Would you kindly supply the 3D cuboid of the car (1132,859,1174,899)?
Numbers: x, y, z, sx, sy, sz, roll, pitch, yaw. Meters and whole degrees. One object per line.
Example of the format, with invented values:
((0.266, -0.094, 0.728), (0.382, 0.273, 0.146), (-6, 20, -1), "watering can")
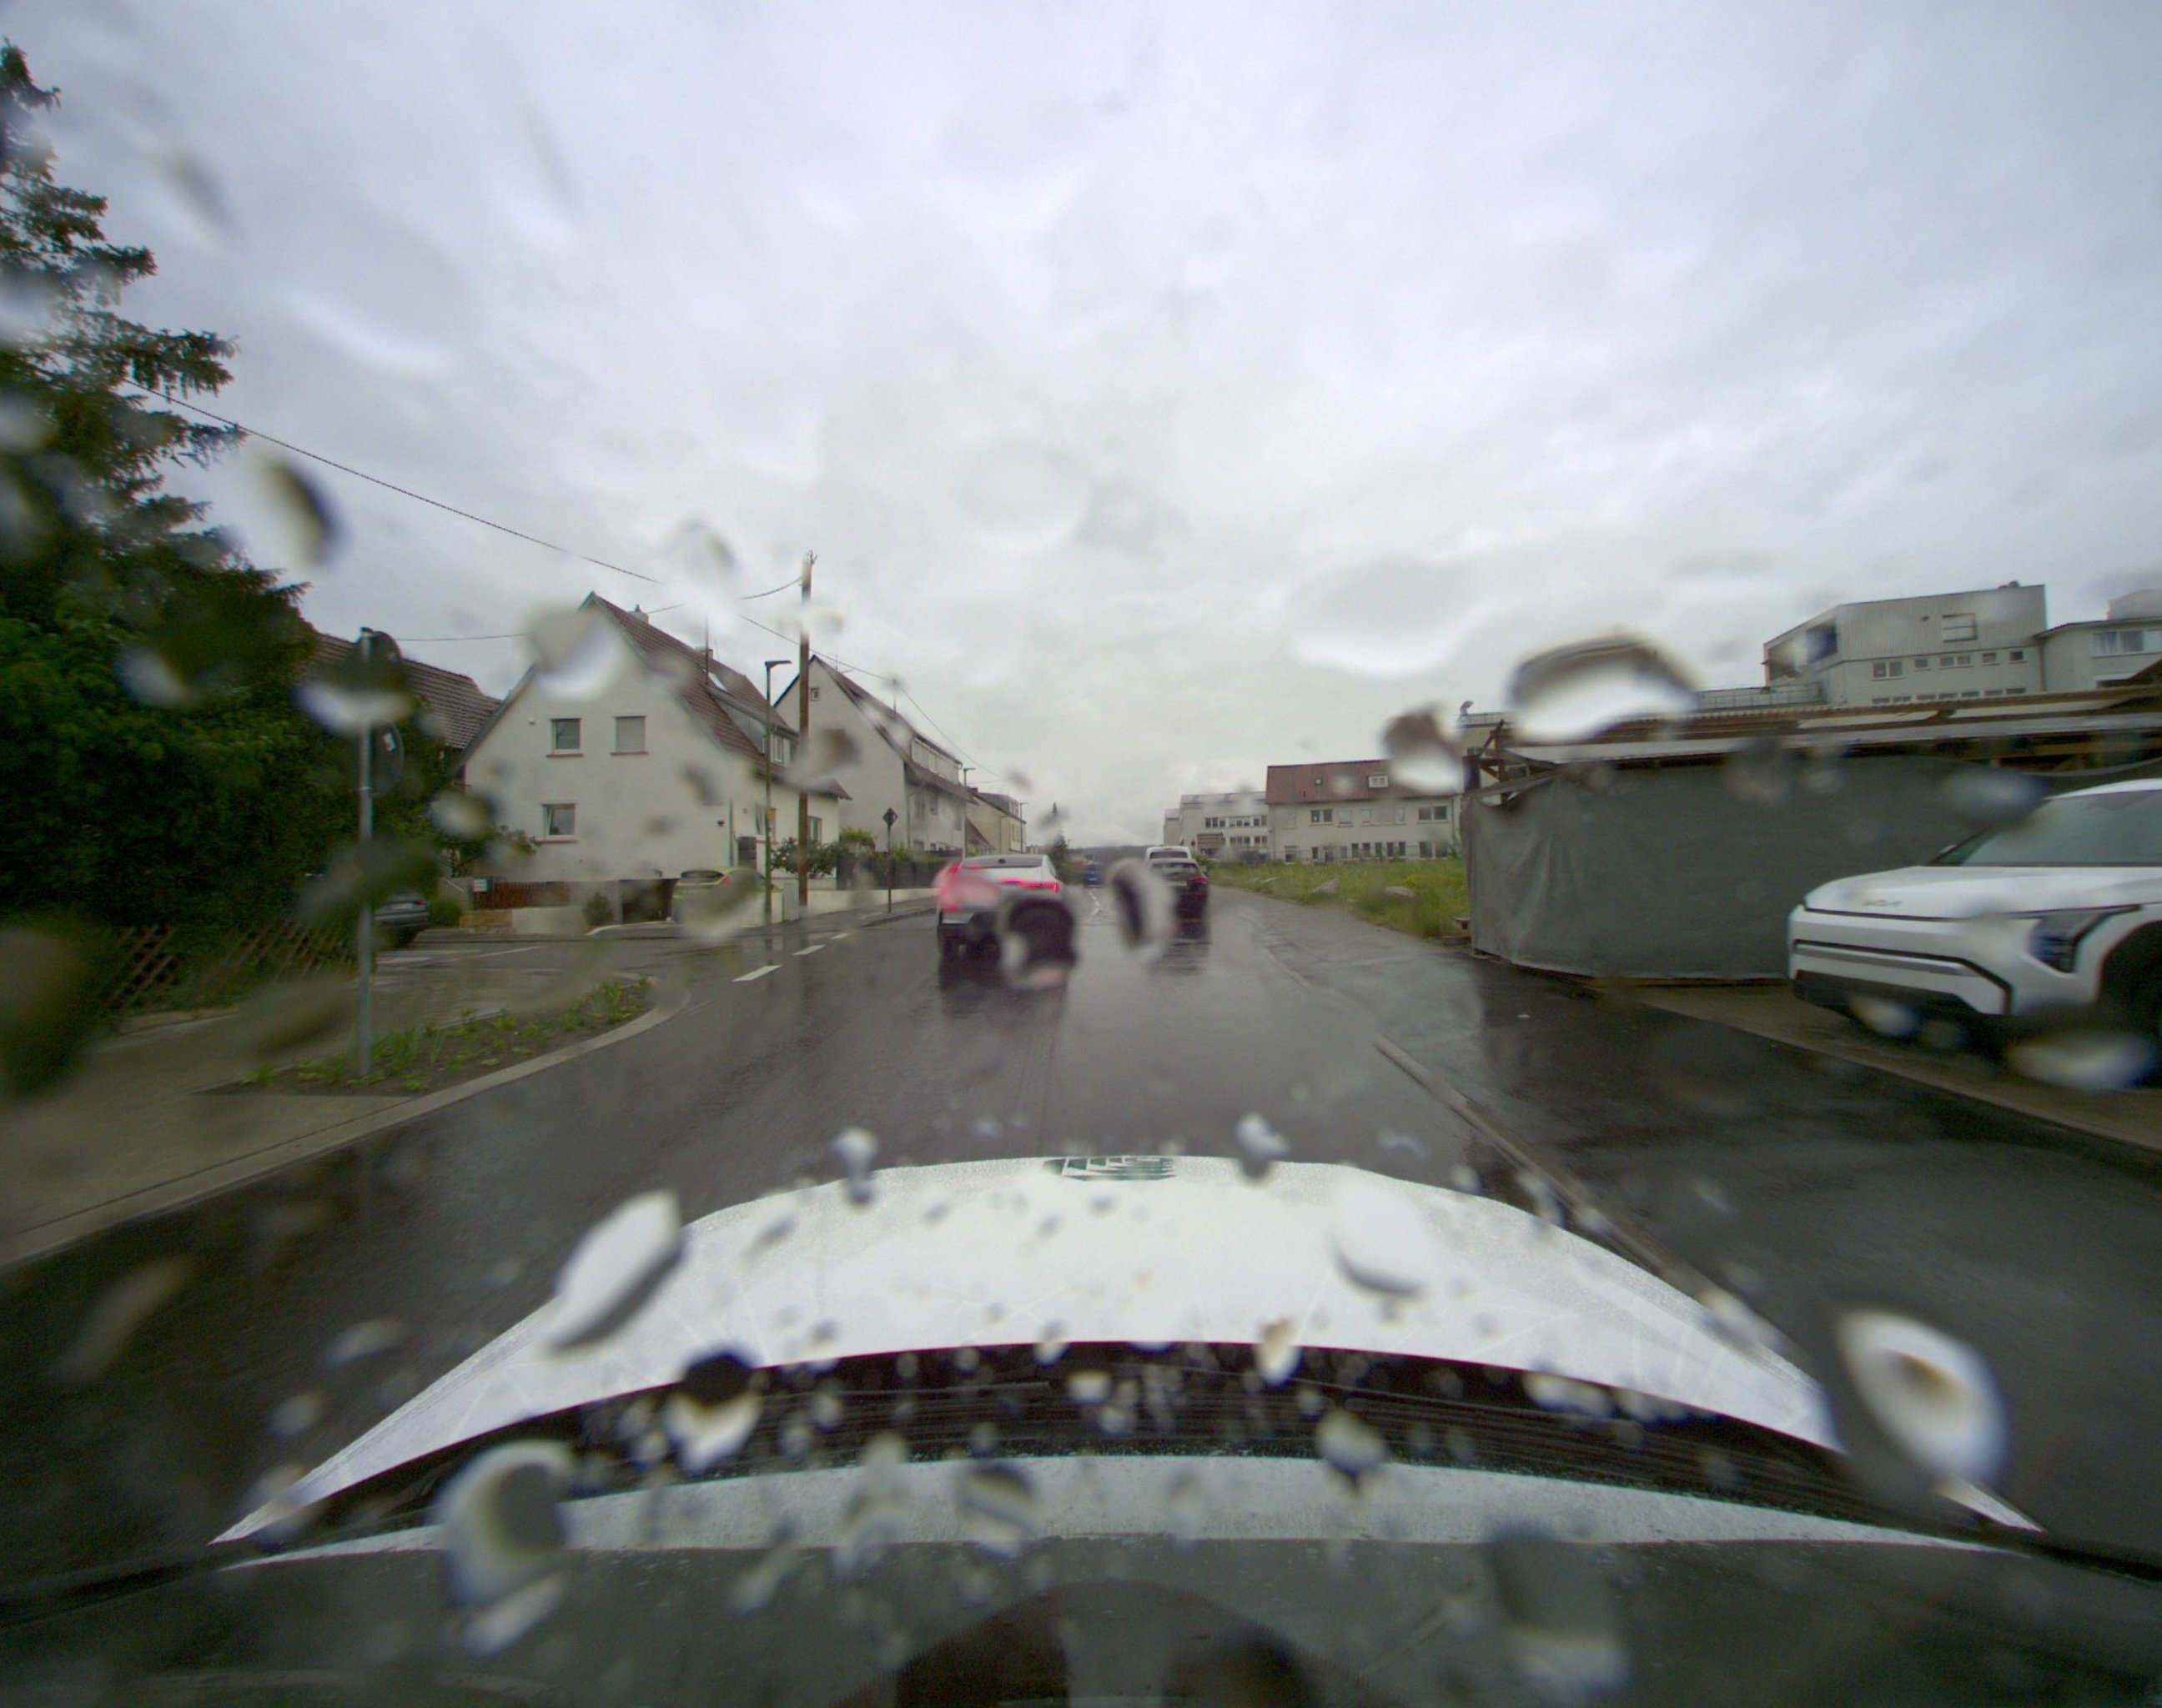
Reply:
((3.064, 1.005, 34.512), (1.634, 1.575, 4.650), (-1, -1, 5), "car")

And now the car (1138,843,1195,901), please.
((2.872, 0.592, 28.014), (1.761, 1.825, 4.579), (-1, -1, 4), "car")

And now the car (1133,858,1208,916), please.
((2.249, 0.803, 21.308), (1.761, 1.336, 4.325), (-1, -1, 4), "car")

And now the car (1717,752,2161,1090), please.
((6.687, 0.248, 4.865), (4.200, 1.610, 1.862), (-3, -2, 2), "car")

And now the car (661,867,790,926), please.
((-9.556, 1.119, 22.186), (1.770, 1.467, 3.461), (-1, -2, 5), "car")

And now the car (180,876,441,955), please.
((-15.799, 1.231, 16.820), (3.825, 1.467, 1.787), (-1, 0, 5), "car")

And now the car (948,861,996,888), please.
((-6.681, 1.260, 50.483), (1.985, 1.510, 4.900), (2, -1, 4), "car")

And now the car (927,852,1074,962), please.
((-1.156, 0.785, 13.857), (1.987, 1.502, 4.669), (-1, -1, 0), "car")
